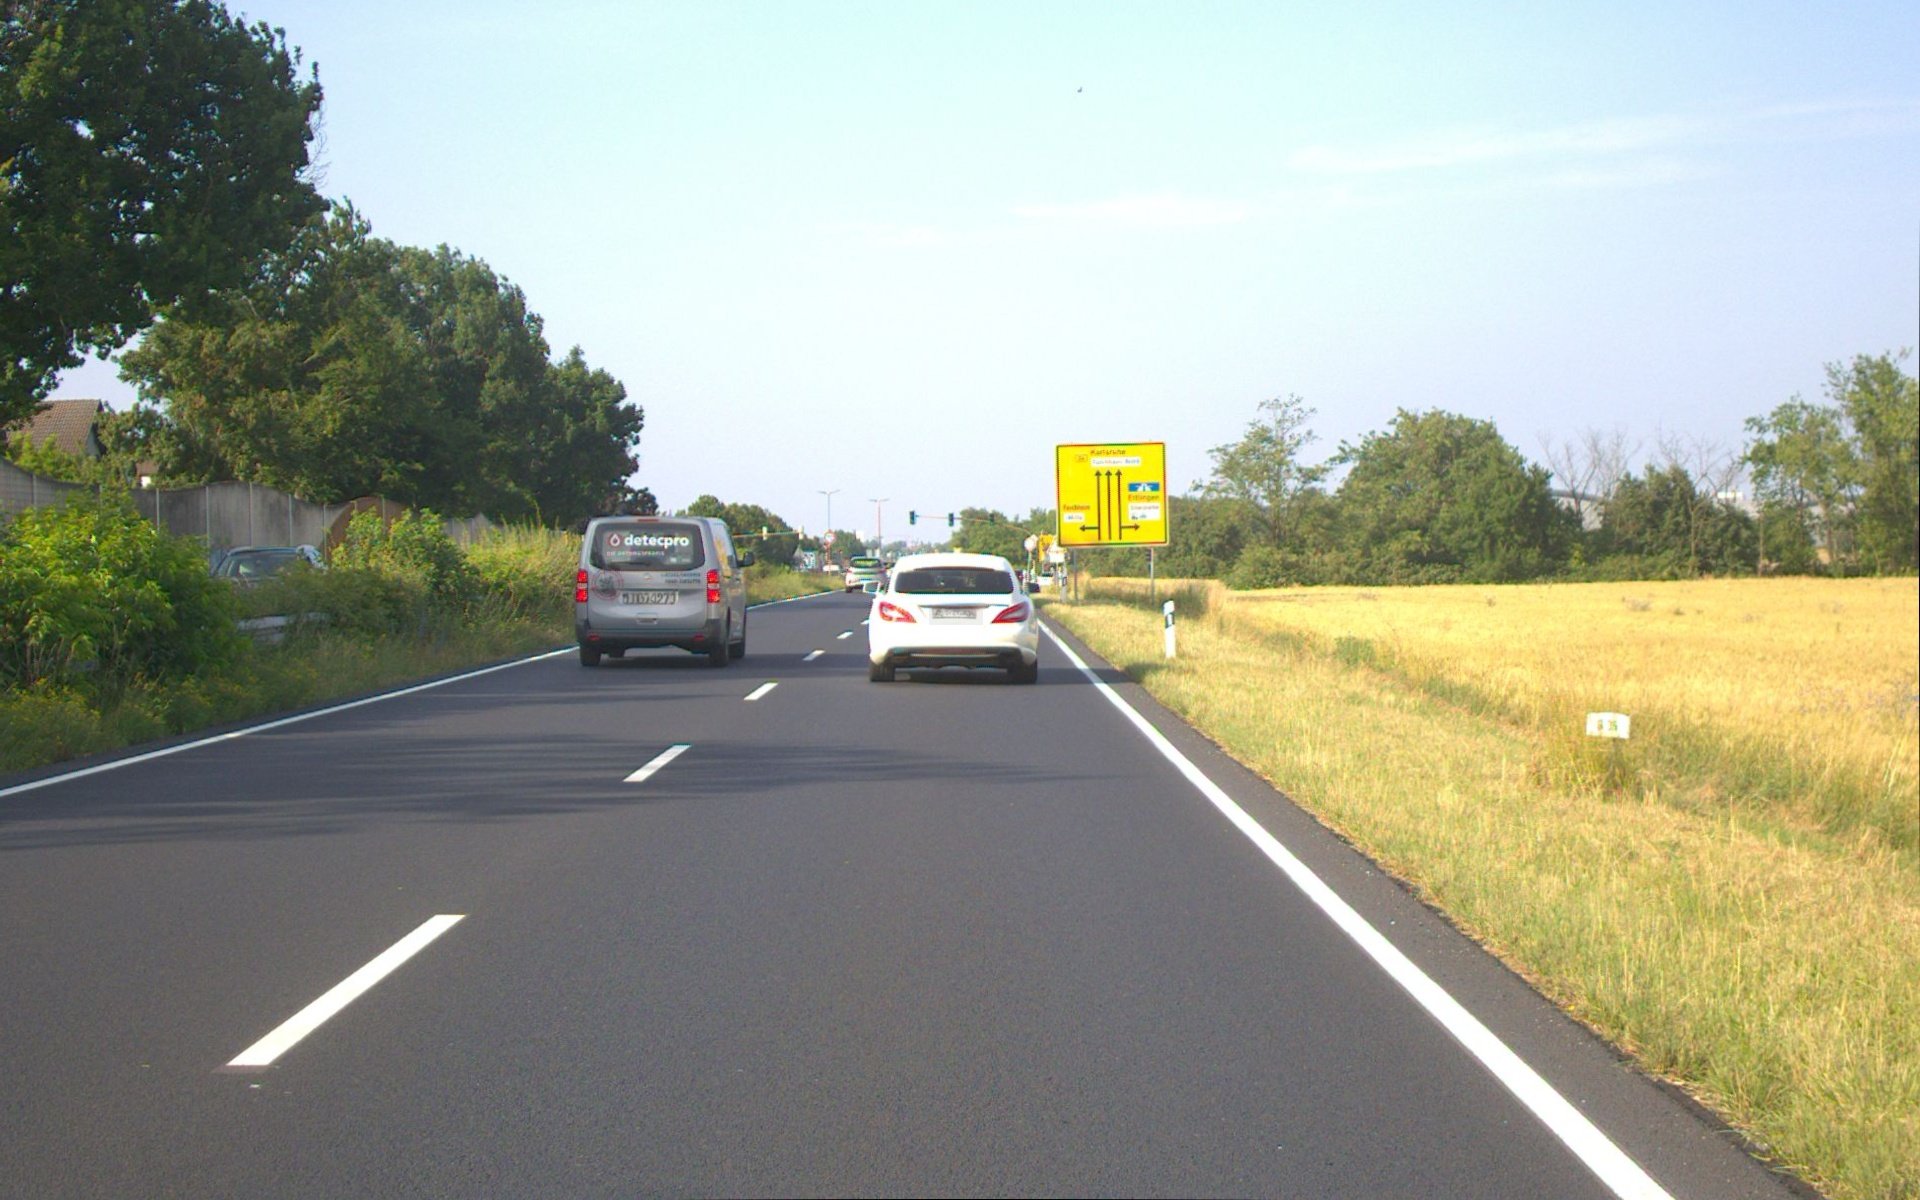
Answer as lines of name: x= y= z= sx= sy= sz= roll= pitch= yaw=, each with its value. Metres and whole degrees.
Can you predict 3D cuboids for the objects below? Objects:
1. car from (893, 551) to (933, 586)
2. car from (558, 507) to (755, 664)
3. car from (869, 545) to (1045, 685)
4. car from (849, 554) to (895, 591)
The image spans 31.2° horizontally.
car: x=-2.332 y=-1.551 z=169.244 sx=1.877 sy=1.645 sz=3.664 roll=1 pitch=0 yaw=-2
car: x=-3.848 y=-0.218 z=44.381 sx=2.025 sy=1.885 sz=4.958 roll=1 pitch=1 yaw=1
car: x=-0.044 y=0.143 z=38.981 sx=1.894 sy=1.503 sz=4.000 roll=0 pitch=0 yaw=0
car: x=-3.583 y=-1.127 z=140.436 sx=1.717 sy=1.487 sz=3.584 roll=1 pitch=0 yaw=0
